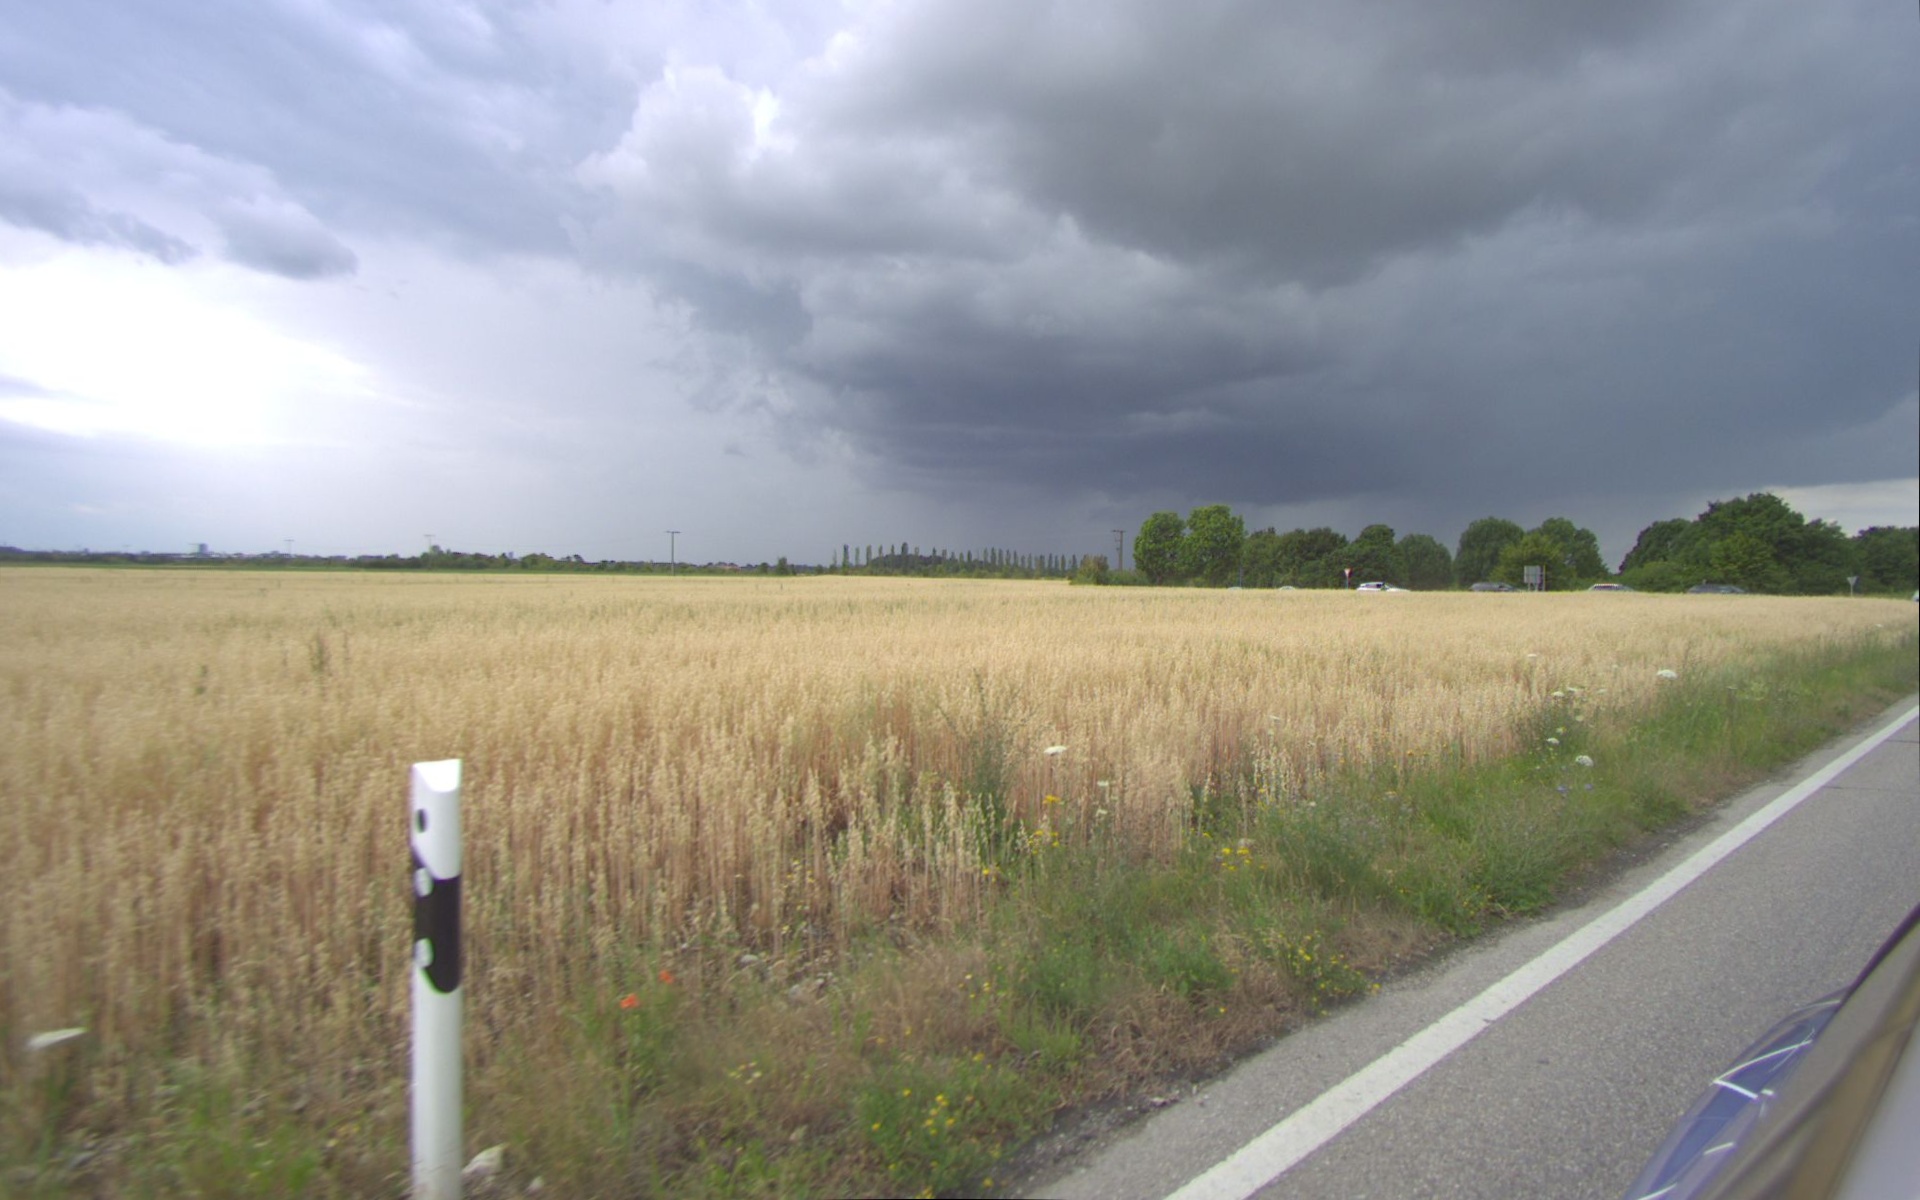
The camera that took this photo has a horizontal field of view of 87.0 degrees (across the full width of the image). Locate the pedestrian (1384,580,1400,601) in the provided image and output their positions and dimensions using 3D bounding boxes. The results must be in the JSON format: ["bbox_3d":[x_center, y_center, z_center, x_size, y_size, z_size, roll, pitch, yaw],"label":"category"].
[{"bbox_3d":[33.036,-0.719,77.386,0.939,1.631,0.763,1,1,37],"label":"pedestrian"}]

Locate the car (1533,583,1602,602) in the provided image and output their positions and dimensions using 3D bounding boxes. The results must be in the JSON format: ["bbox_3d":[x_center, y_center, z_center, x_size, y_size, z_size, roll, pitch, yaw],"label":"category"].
[{"bbox_3d":[47.098,-0.634,78.528,1.690,1.370,4.214,0,2,-35],"label":"car"}]

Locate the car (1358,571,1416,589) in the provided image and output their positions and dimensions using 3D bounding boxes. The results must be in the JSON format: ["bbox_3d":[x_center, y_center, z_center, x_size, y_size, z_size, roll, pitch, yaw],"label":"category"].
[{"bbox_3d":[38.142,-1.840,90.530,1.690,1.512,4.639,-3,3,-35],"label":"car"}]

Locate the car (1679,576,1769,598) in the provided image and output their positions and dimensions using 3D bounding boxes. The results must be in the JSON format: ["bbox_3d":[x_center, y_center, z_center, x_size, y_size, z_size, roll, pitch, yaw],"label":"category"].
[{"bbox_3d":[52.891,-0.906,70.106,1.689,1.369,4.698,-3,3,-33],"label":"car"}]
